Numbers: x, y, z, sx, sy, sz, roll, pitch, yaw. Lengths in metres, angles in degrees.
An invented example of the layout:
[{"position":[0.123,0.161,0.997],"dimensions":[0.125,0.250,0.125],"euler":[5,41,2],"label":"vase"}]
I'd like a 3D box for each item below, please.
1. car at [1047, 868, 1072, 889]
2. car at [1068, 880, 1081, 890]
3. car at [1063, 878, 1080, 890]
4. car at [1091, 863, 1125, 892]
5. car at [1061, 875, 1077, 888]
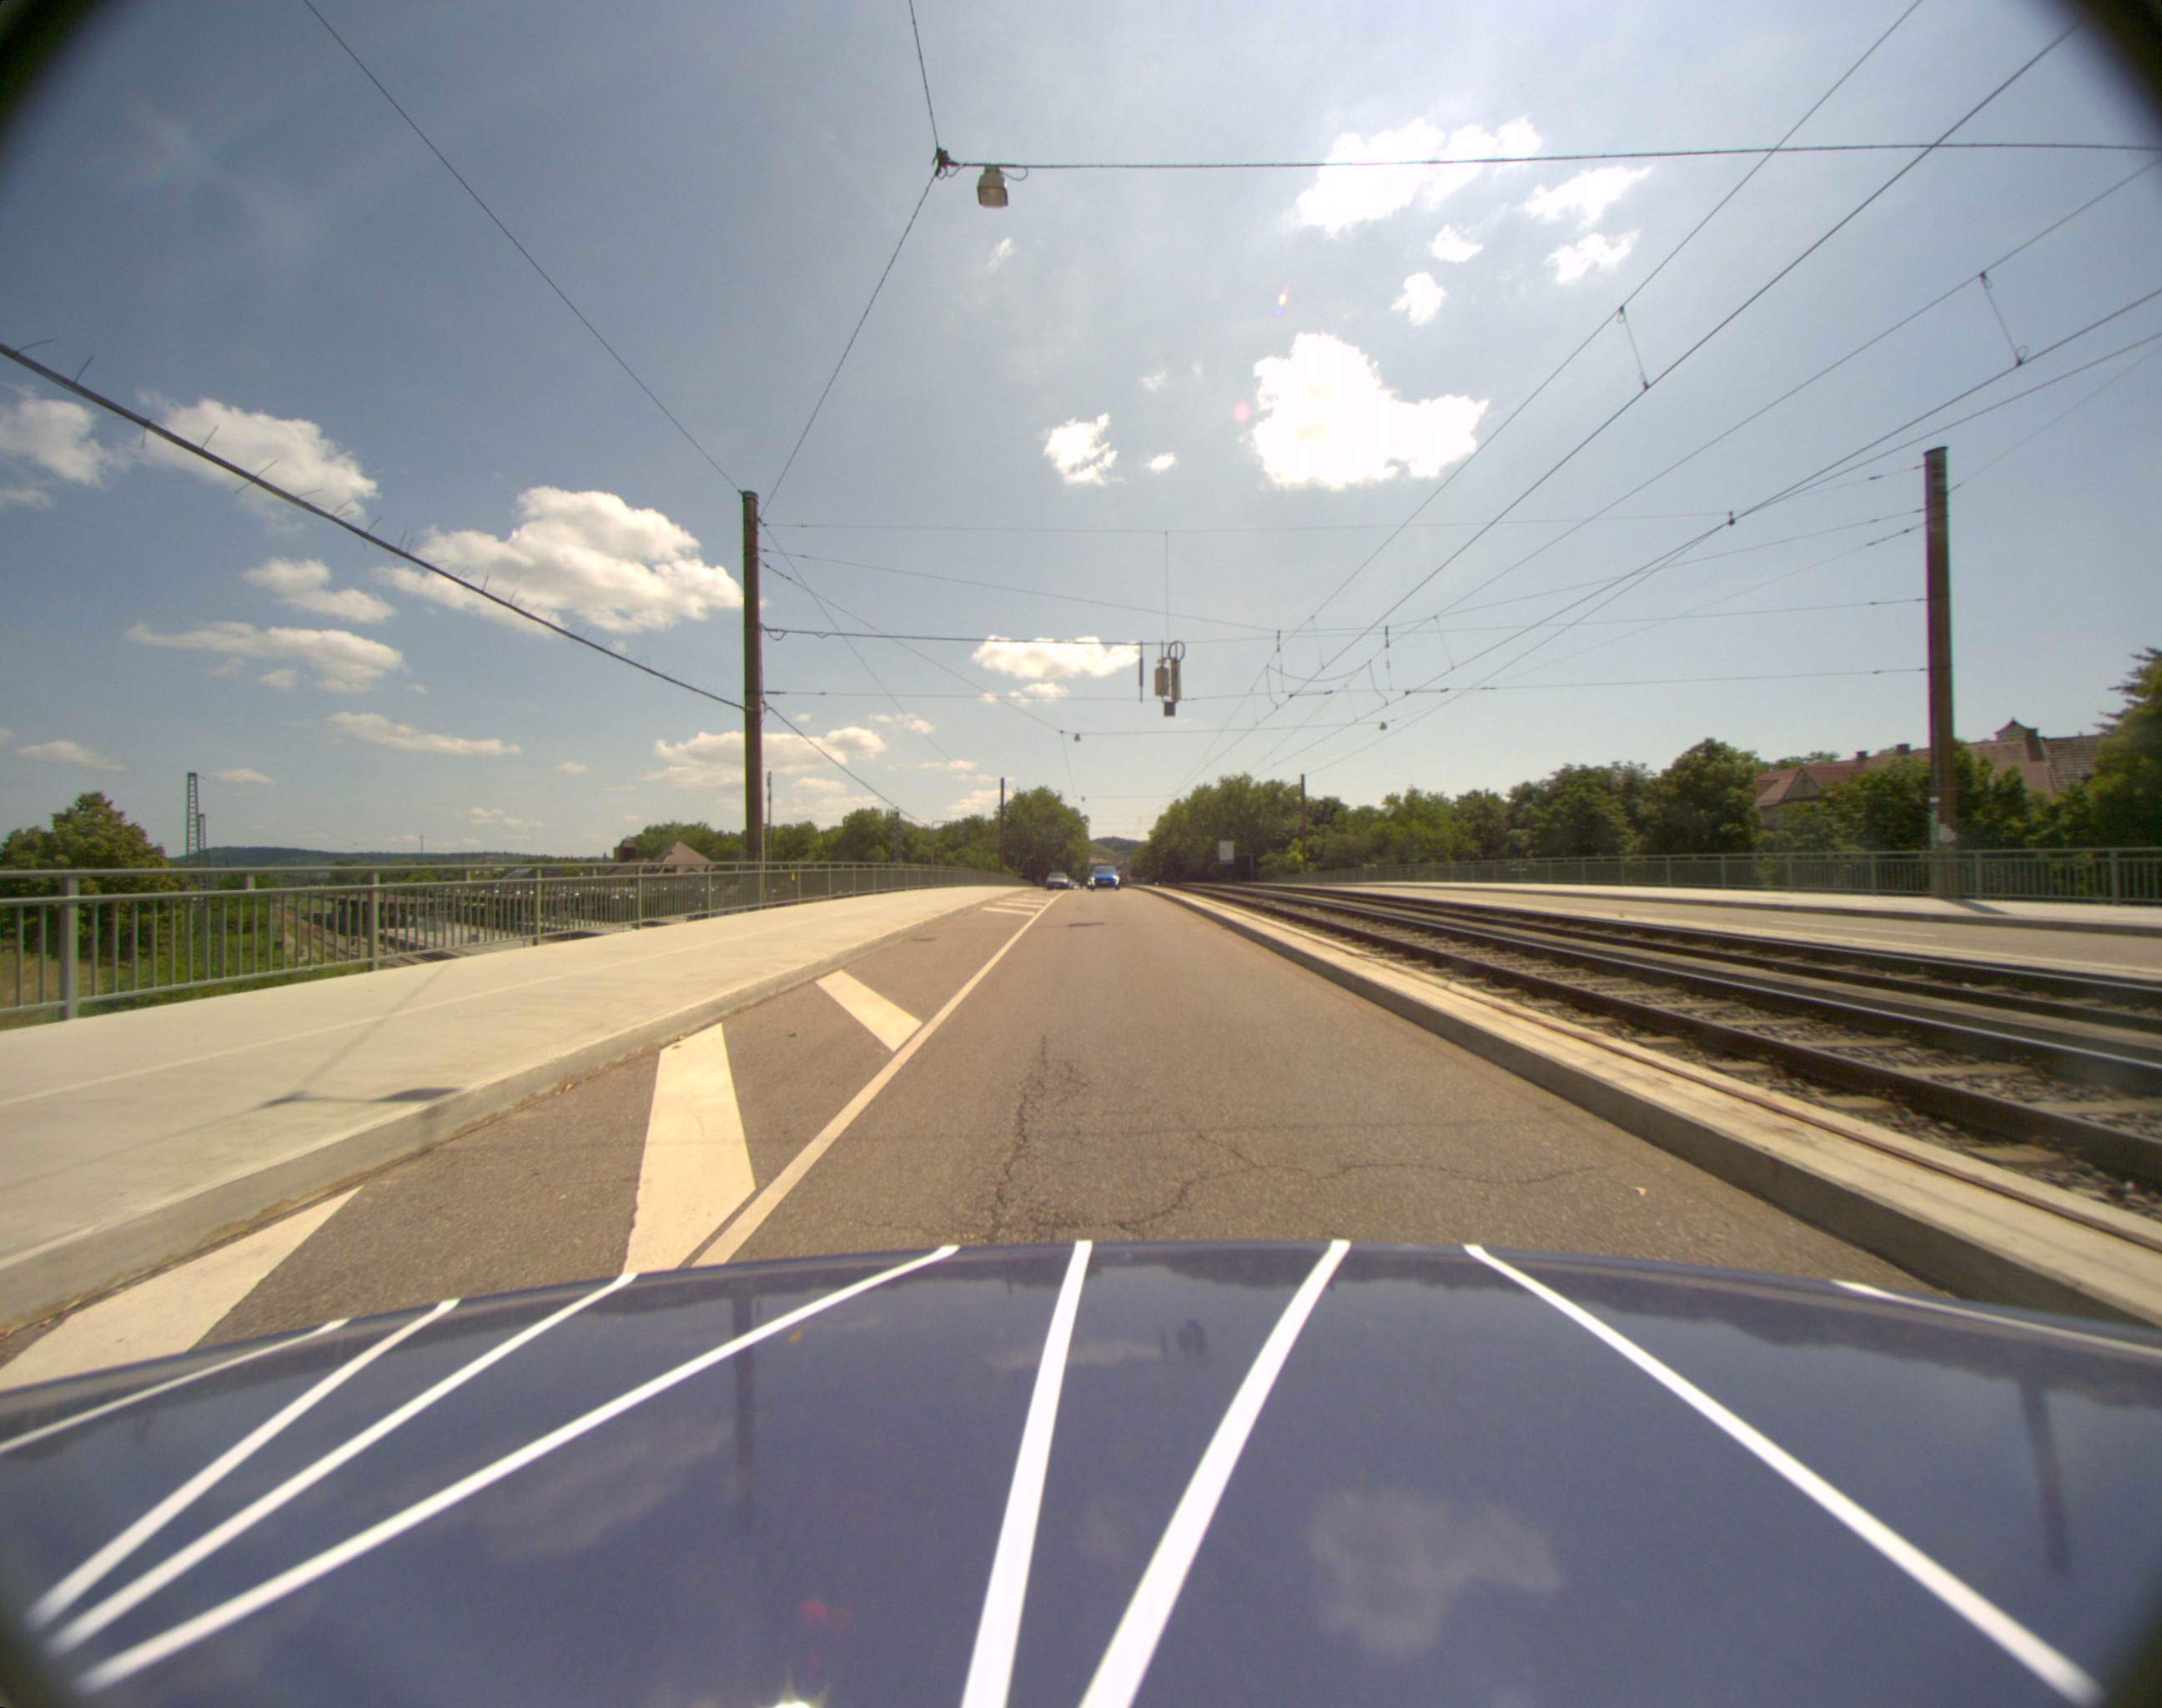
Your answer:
[{"position":[-1.763,2.073,62.955],"dimensions":[1.999,1.542,4.723],"euler":[-2,-3,-1],"label":"car"},{"position":[-0.843,4.425,107.802],"dimensions":[1.759,1.381,3.701],"euler":[-1,-3,1],"label":"car"},{"position":[-1.297,4.078,102.873],"dimensions":[1.998,1.431,4.003],"euler":[-2,-2,4],"label":"car"},{"position":[1.655,1.422,45.787],"dimensions":[1.864,1.629,4.002],"euler":[-2,-2,3],"label":"car"},{"position":[-1.398,3.157,85.649],"dimensions":[1.689,1.350,4.594],"euler":[-2,-3,-1],"label":"car"}]
